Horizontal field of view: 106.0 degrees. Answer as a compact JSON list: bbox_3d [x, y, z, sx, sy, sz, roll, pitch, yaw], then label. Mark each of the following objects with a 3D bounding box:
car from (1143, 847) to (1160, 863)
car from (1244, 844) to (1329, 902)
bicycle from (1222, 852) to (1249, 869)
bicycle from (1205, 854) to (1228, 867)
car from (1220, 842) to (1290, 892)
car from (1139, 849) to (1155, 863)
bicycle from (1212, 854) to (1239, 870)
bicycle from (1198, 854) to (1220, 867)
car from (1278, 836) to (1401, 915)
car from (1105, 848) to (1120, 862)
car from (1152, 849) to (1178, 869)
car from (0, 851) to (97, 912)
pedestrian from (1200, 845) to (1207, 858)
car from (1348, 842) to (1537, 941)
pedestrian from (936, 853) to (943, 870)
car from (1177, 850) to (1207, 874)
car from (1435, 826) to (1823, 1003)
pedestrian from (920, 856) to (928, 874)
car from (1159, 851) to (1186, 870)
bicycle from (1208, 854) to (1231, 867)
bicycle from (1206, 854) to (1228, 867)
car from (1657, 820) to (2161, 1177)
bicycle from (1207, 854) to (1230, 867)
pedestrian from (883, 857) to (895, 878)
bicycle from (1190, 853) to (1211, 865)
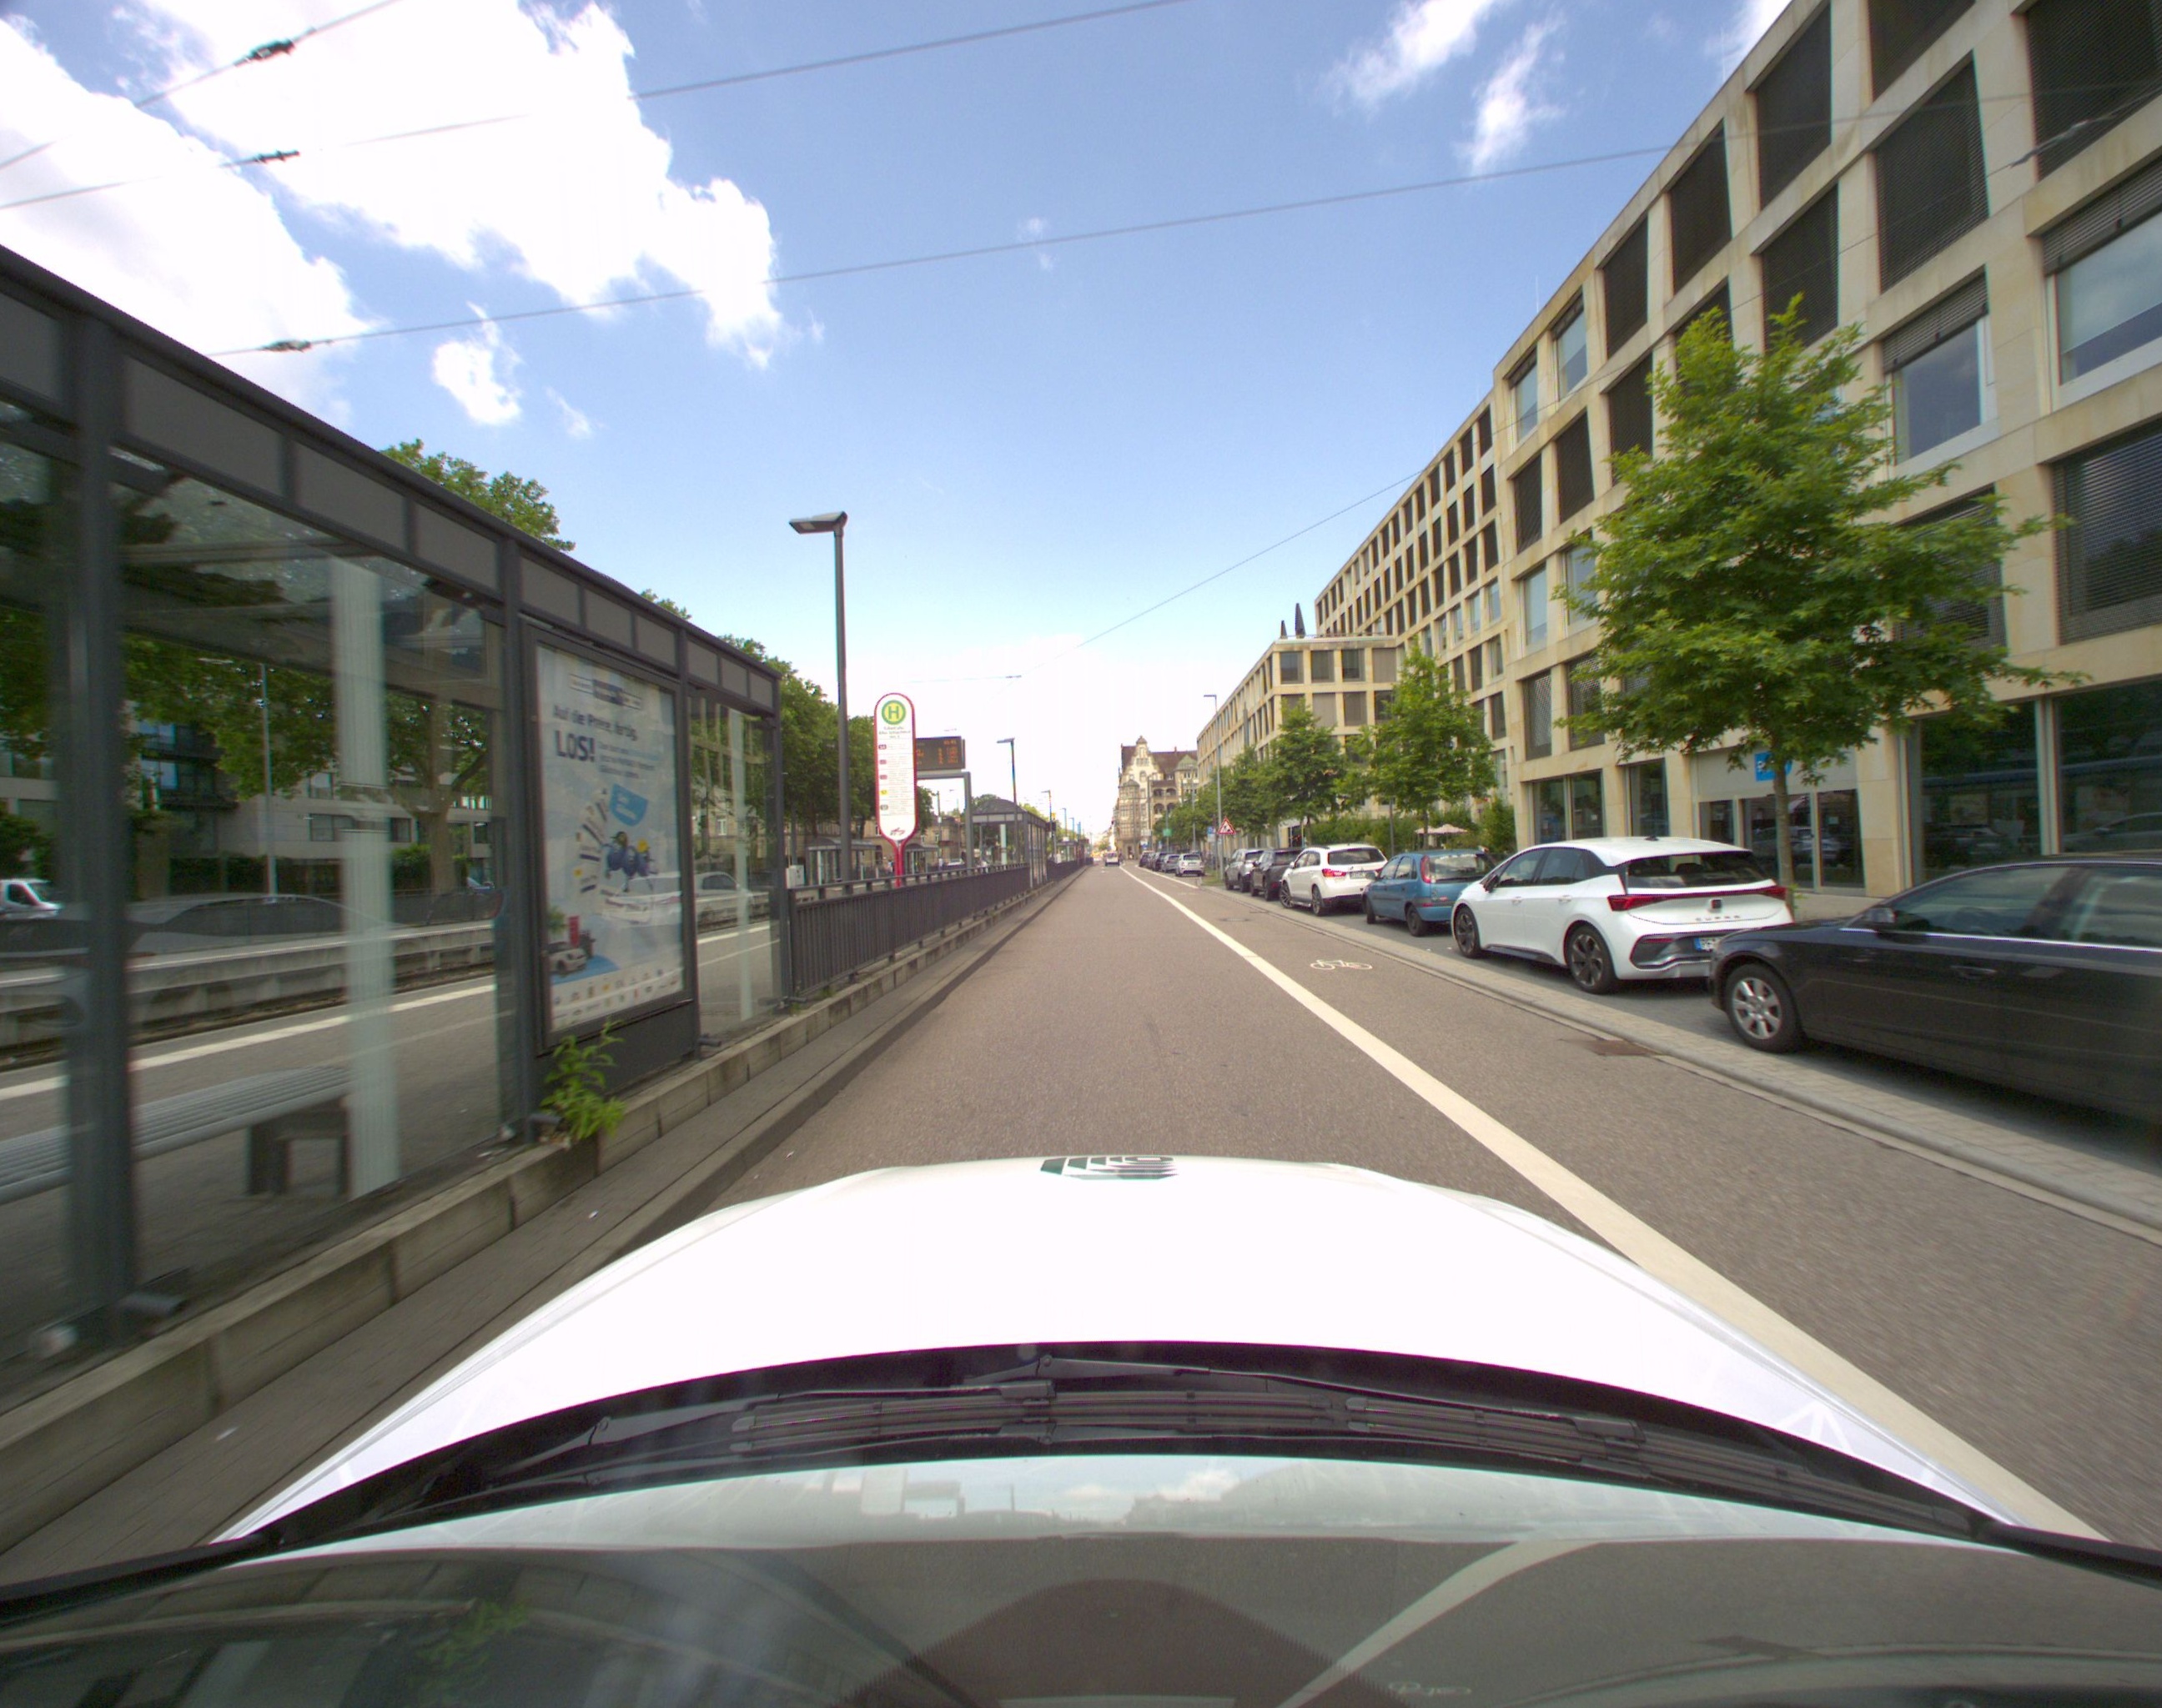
[{"bbox_3d":[8.219,0.128,95.498,1.704,1.796,3.361,0,0,0],"label":"car"},{"bbox_3d":[6.289,0.546,25.375,1.679,1.548,3.928,-4,0,2],"label":"car"},{"bbox_3d":[10.834,0.470,57.166,1.815,1.076,0.275,-2,0,5],"label":"bicycle"},{"bbox_3d":[11.039,0.545,66.429,1.746,0.986,0.326,-3,0,0],"label":"bicycle"},{"bbox_3d":[6.538,0.459,31.026,1.680,1.633,3.989,-5,0,0],"label":"car"},{"bbox_3d":[7.304,0.223,90.628,1.438,1.470,4.092,0,0,0],"label":"car"},{"bbox_3d":[10.549,0.576,59.503,1.815,1.076,0.687,-2,0,5],"label":"bicycle"},{"bbox_3d":[11.311,0.556,72.032,1.815,1.030,0.585,-2,0,4],"label":"bicycle"},{"bbox_3d":[6.082,0.465,19.655,1.679,1.606,4.153,-4,0,2],"label":"car"},{"bbox_3d":[3.982,0.124,104.070,1.862,1.746,4.001,-1,0,1],"label":"car"},{"bbox_3d":[7.111,0.381,69.271,1.732,1.669,4.840,0,0,0],"label":"car"},{"bbox_3d":[-39.429,1.067,29.895,4.123,2.034,1.960,-4,0,1],"label":"car"},{"bbox_3d":[15.847,-0.316,105.515,0.757,1.670,0.659,-2,0,1],"label":"pedestrian"},{"bbox_3d":[6.312,0.584,14.745,1.679,1.457,3.952,-4,0,2],"label":"car"},{"bbox_3d":[-14.458,0.786,83.401,0.498,1.683,0.643,-3,0,2],"label":"pedestrian"},{"bbox_3d":[7.099,0.466,52.503,1.585,1.460,3.615,-1,0,3],"label":"car"},{"bbox_3d":[5.963,0.555,9.598,1.786,1.529,4.160,-4,0,2],"label":"car"},{"bbox_3d":[-13.992,0.965,72.483,0.498,1.558,0.643,-2,0,2],"label":"pedestrian"},{"bbox_3d":[7.135,0.517,63.747,1.586,1.434,4.106,0,0,0],"label":"car"},{"bbox_3d":[11.100,0.542,65.378,1.746,0.986,0.326,-3,0,0],"label":"bicycle"},{"bbox_3d":[11.033,0.547,66.081,1.746,0.986,0.326,-3,0,0],"label":"bicycle"},{"bbox_3d":[5.591,0.596,4.319,1.875,1.487,4.565,-3,0,2],"label":"car"},{"bbox_3d":[11.073,0.544,65.721,1.746,0.986,0.326,-3,0,0],"label":"bicycle"},{"bbox_3d":[-13.960,0.966,59.216,0.700,1.512,0.801,-3,0,-6],"label":"pedestrian"},{"bbox_3d":[11.407,0.470,77.755,1.833,1.030,0.340,-4,0,0],"label":"bicycle"}]
